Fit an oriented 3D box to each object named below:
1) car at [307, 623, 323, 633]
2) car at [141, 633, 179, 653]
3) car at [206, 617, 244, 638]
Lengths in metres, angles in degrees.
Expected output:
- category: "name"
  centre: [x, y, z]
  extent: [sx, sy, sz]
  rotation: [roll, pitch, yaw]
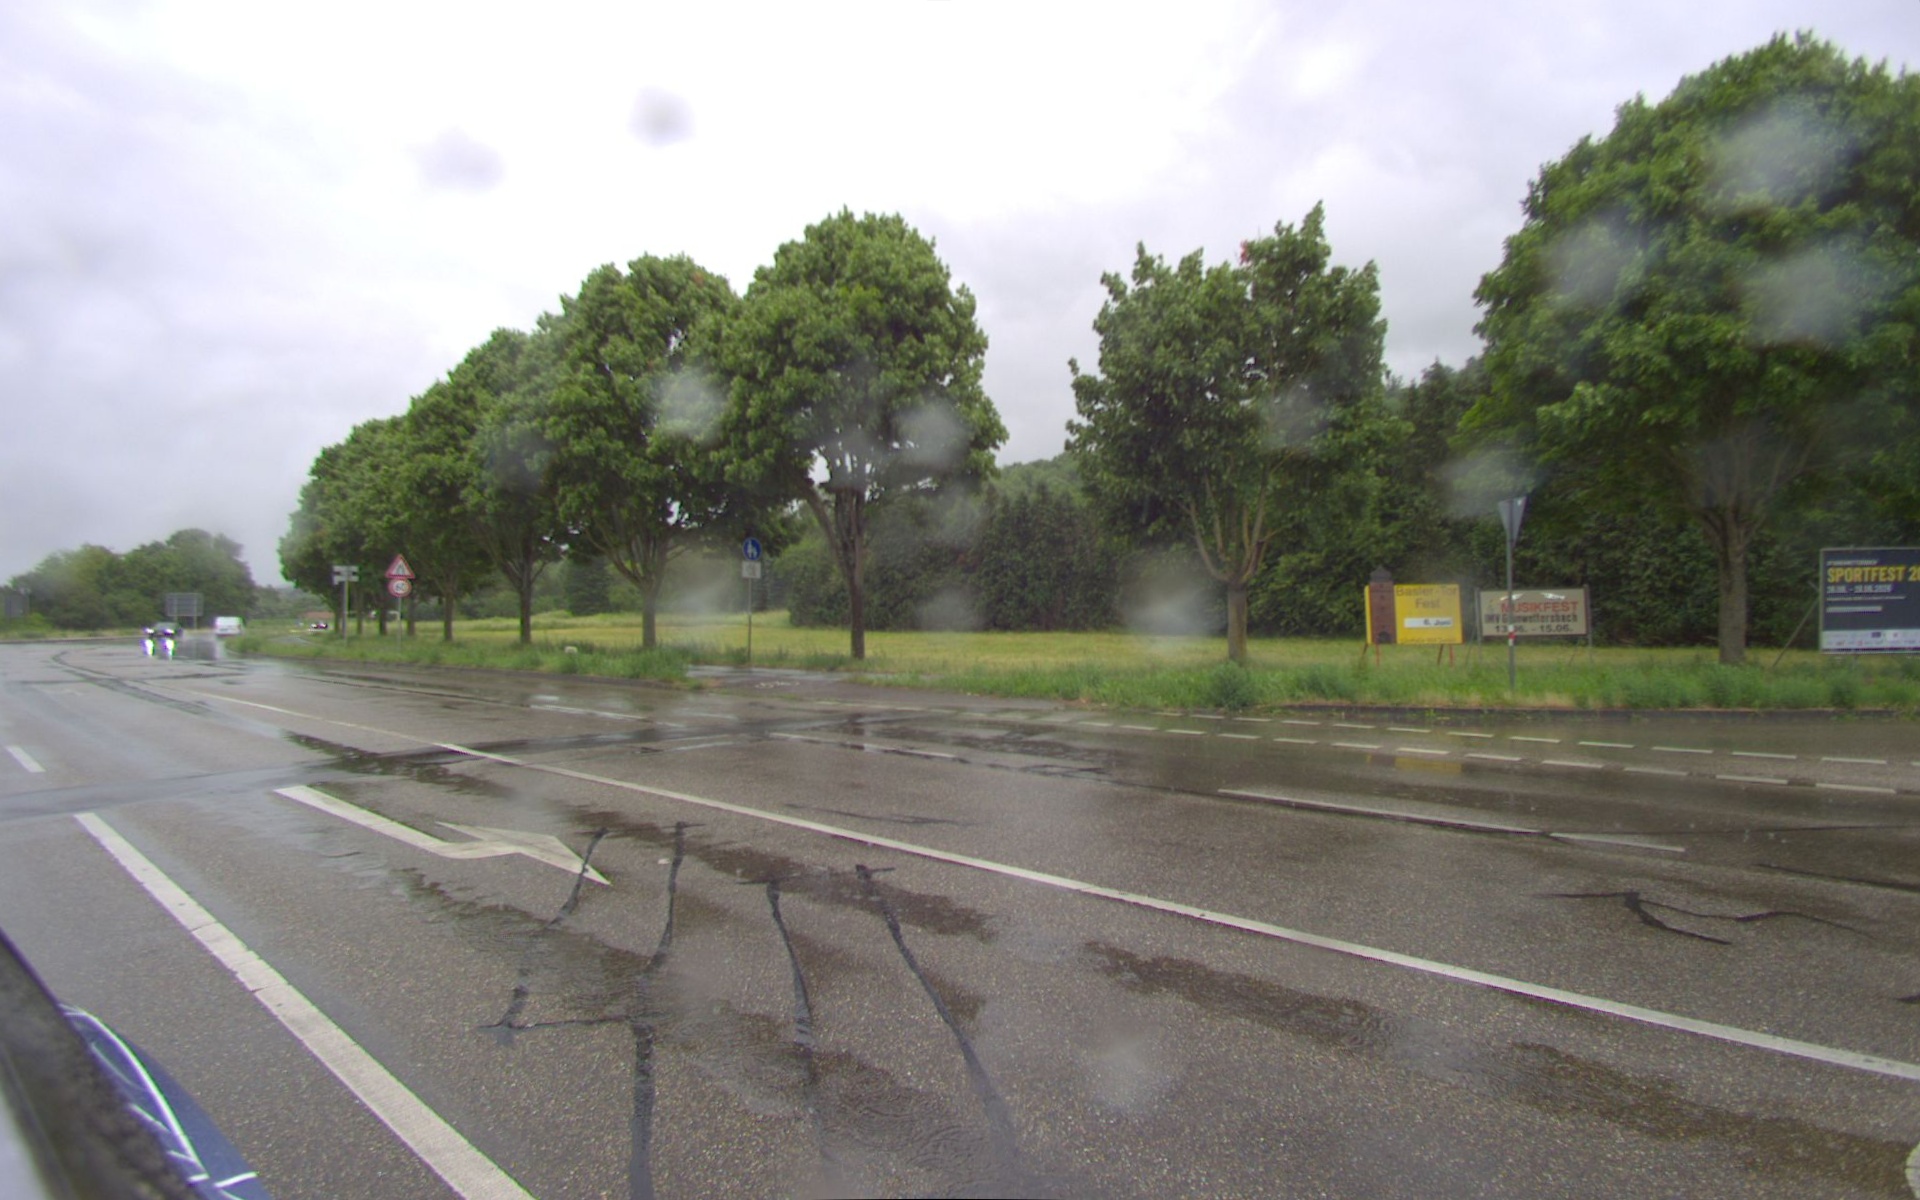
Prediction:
- category: "car"
  centre: [-125.104, 5.413, 196.422]
  extent: [1.884, 1.701, 4.116]
  rotation: [0, 0, -21]
- category: "car"
  centre: [-70.572, 3.775, 89.348]
  extent: [1.884, 1.597, 4.116]
  rotation: [0, -1, -28]
- category: "car"
  centre: [-67.567, 2.493, 93.096]
  extent: [2.077, 1.907, 4.806]
  rotation: [0, -1, -27]
